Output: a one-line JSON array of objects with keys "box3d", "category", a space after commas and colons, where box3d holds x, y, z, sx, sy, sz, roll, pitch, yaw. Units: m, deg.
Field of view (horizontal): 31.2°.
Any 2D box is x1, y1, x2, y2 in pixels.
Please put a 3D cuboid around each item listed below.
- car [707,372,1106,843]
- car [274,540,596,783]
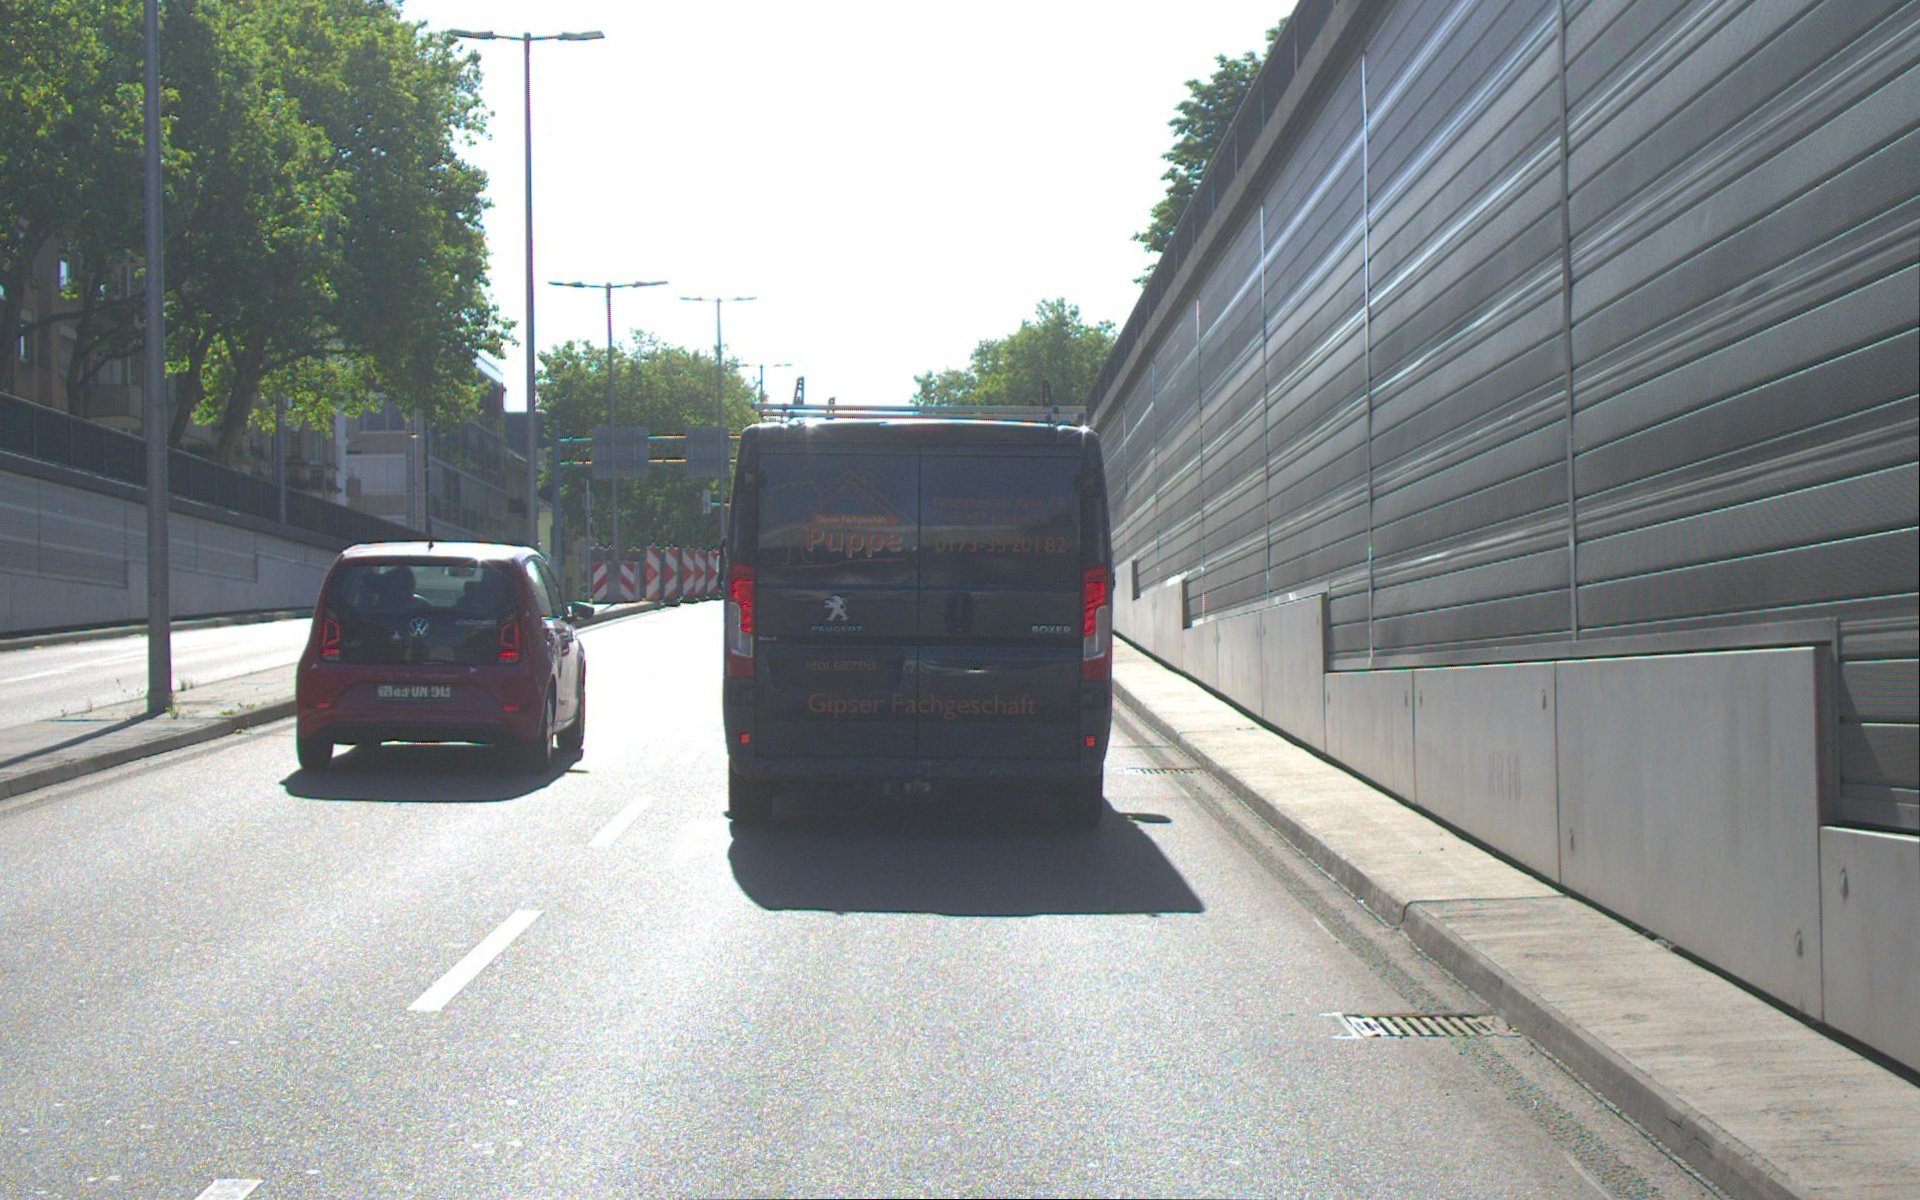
[{"box3d": [-0.290, 0.029, 19.501, 2.030, 2.394, 3.973, 0, 0, -1], "category": "car"}, {"box3d": [-3.445, 0.356, 23.060, 1.689, 1.478, 3.319, 1, 1, -1], "category": "car"}]
